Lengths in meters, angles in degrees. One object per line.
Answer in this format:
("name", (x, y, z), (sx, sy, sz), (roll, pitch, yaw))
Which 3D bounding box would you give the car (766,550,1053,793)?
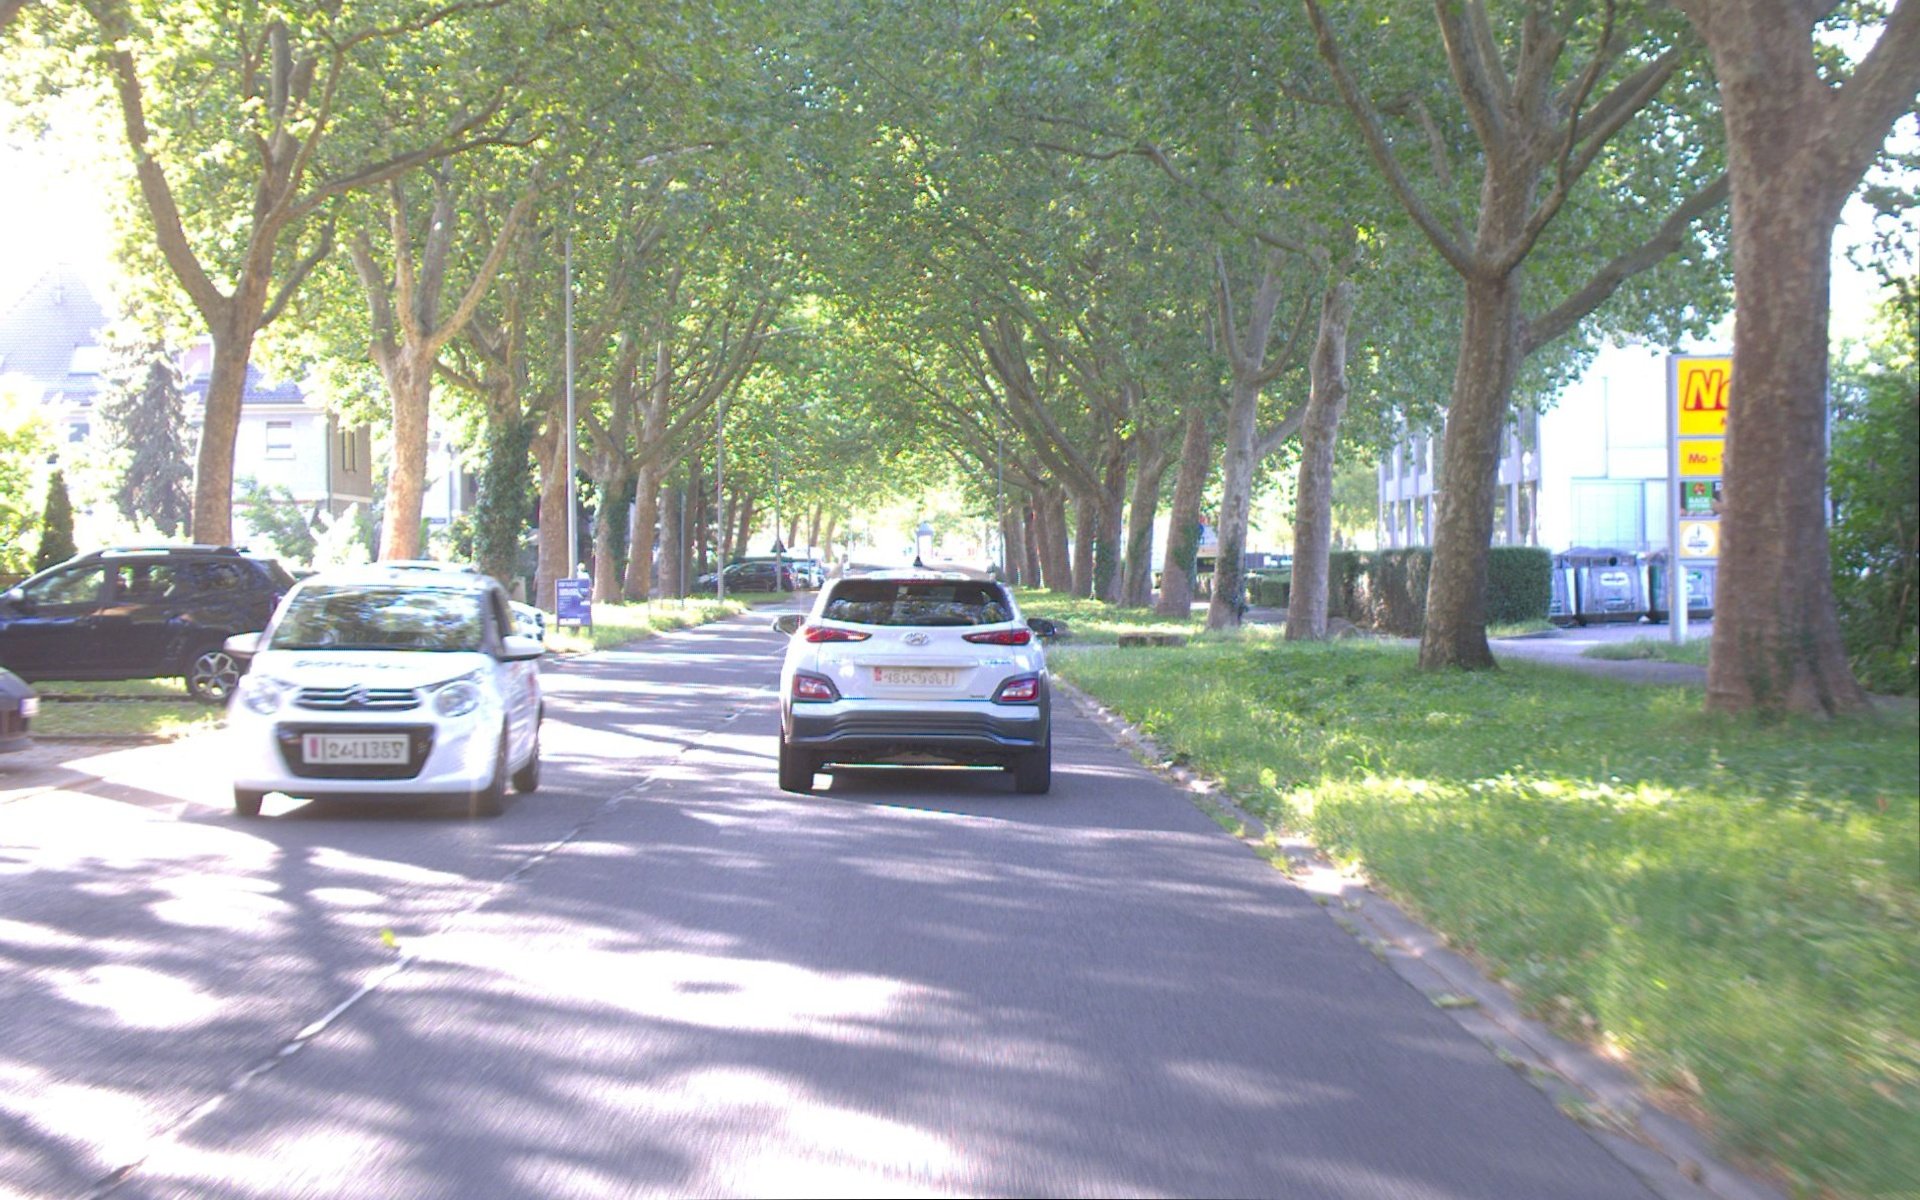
("car", (-0.360, 0.450, 24.203), (1.835, 1.550, 4.000), (1, 0, -1))

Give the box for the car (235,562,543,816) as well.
("car", (-3.475, 0.495, 21.366), (1.535, 1.454, 3.185), (0, 1, -3))

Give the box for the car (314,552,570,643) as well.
("car", (-8.610, -0.056, 57.372), (3.987, 1.465, 1.809), (0, 1, 1))

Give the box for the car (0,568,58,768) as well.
("car", (-8.636, 0.475, 24.011), (4.240, 1.348, 1.741), (-1, 0, -2))

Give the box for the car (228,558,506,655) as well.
("car", (-8.914, 0.088, 51.942), (3.986, 1.419, 1.809), (0, 1, -4))

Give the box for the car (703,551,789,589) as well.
("car", (-10.215, -1.421, 163.947), (3.986, 1.766, 2.000), (1, 0, -5))

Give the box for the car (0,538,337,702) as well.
("car", (-8.813, 0.196, 36.125), (4.243, 1.674, 1.671), (0, 1, -1))

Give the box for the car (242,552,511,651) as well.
("car", (-9.236, 0.013, 54.627), (3.986, 1.515, 1.809), (0, 1, -1))
